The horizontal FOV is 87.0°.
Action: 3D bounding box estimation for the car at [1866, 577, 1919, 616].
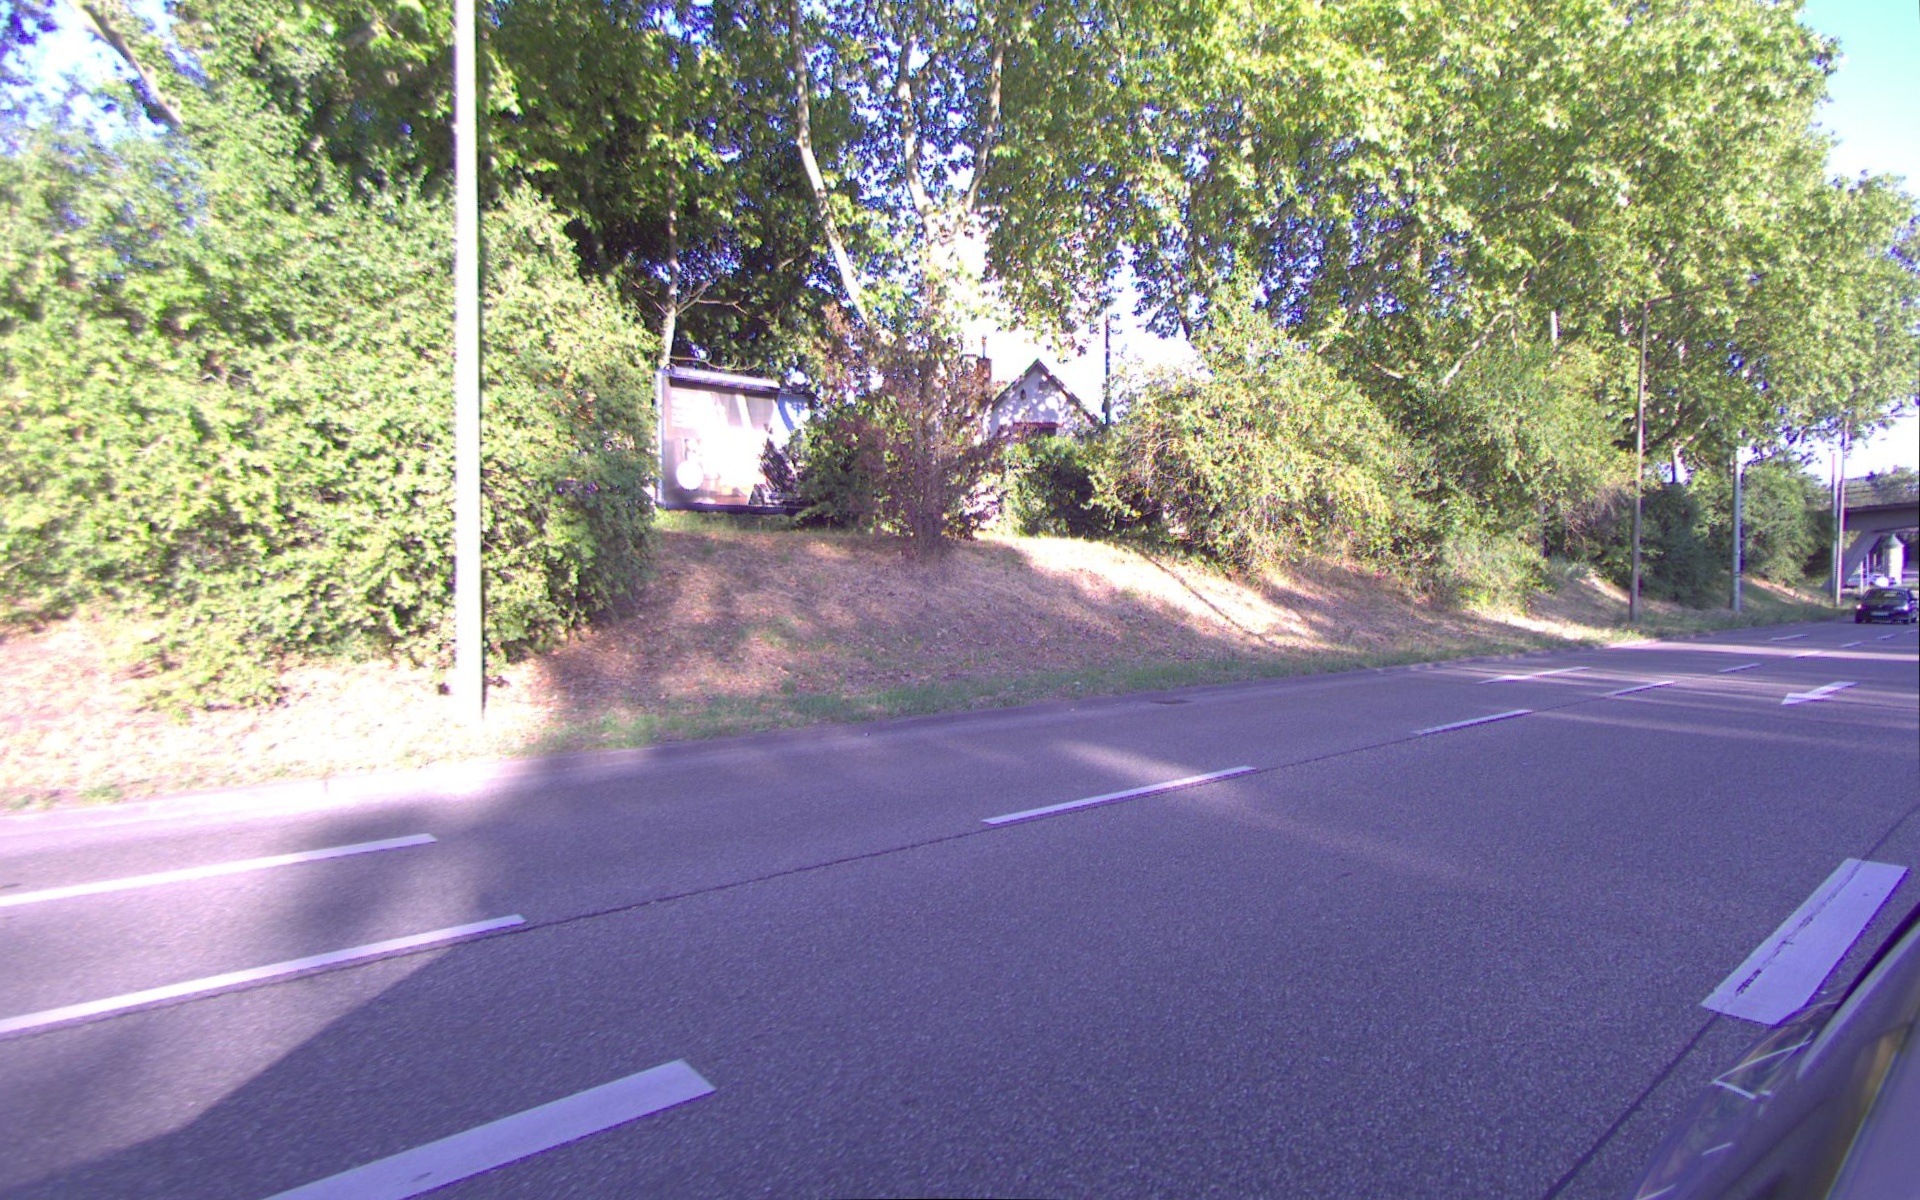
[{"bbox_3d":[38.106,-0.171,40.963,3.915,1.460,1.628,-1,1,-40],"label":"car"}]
